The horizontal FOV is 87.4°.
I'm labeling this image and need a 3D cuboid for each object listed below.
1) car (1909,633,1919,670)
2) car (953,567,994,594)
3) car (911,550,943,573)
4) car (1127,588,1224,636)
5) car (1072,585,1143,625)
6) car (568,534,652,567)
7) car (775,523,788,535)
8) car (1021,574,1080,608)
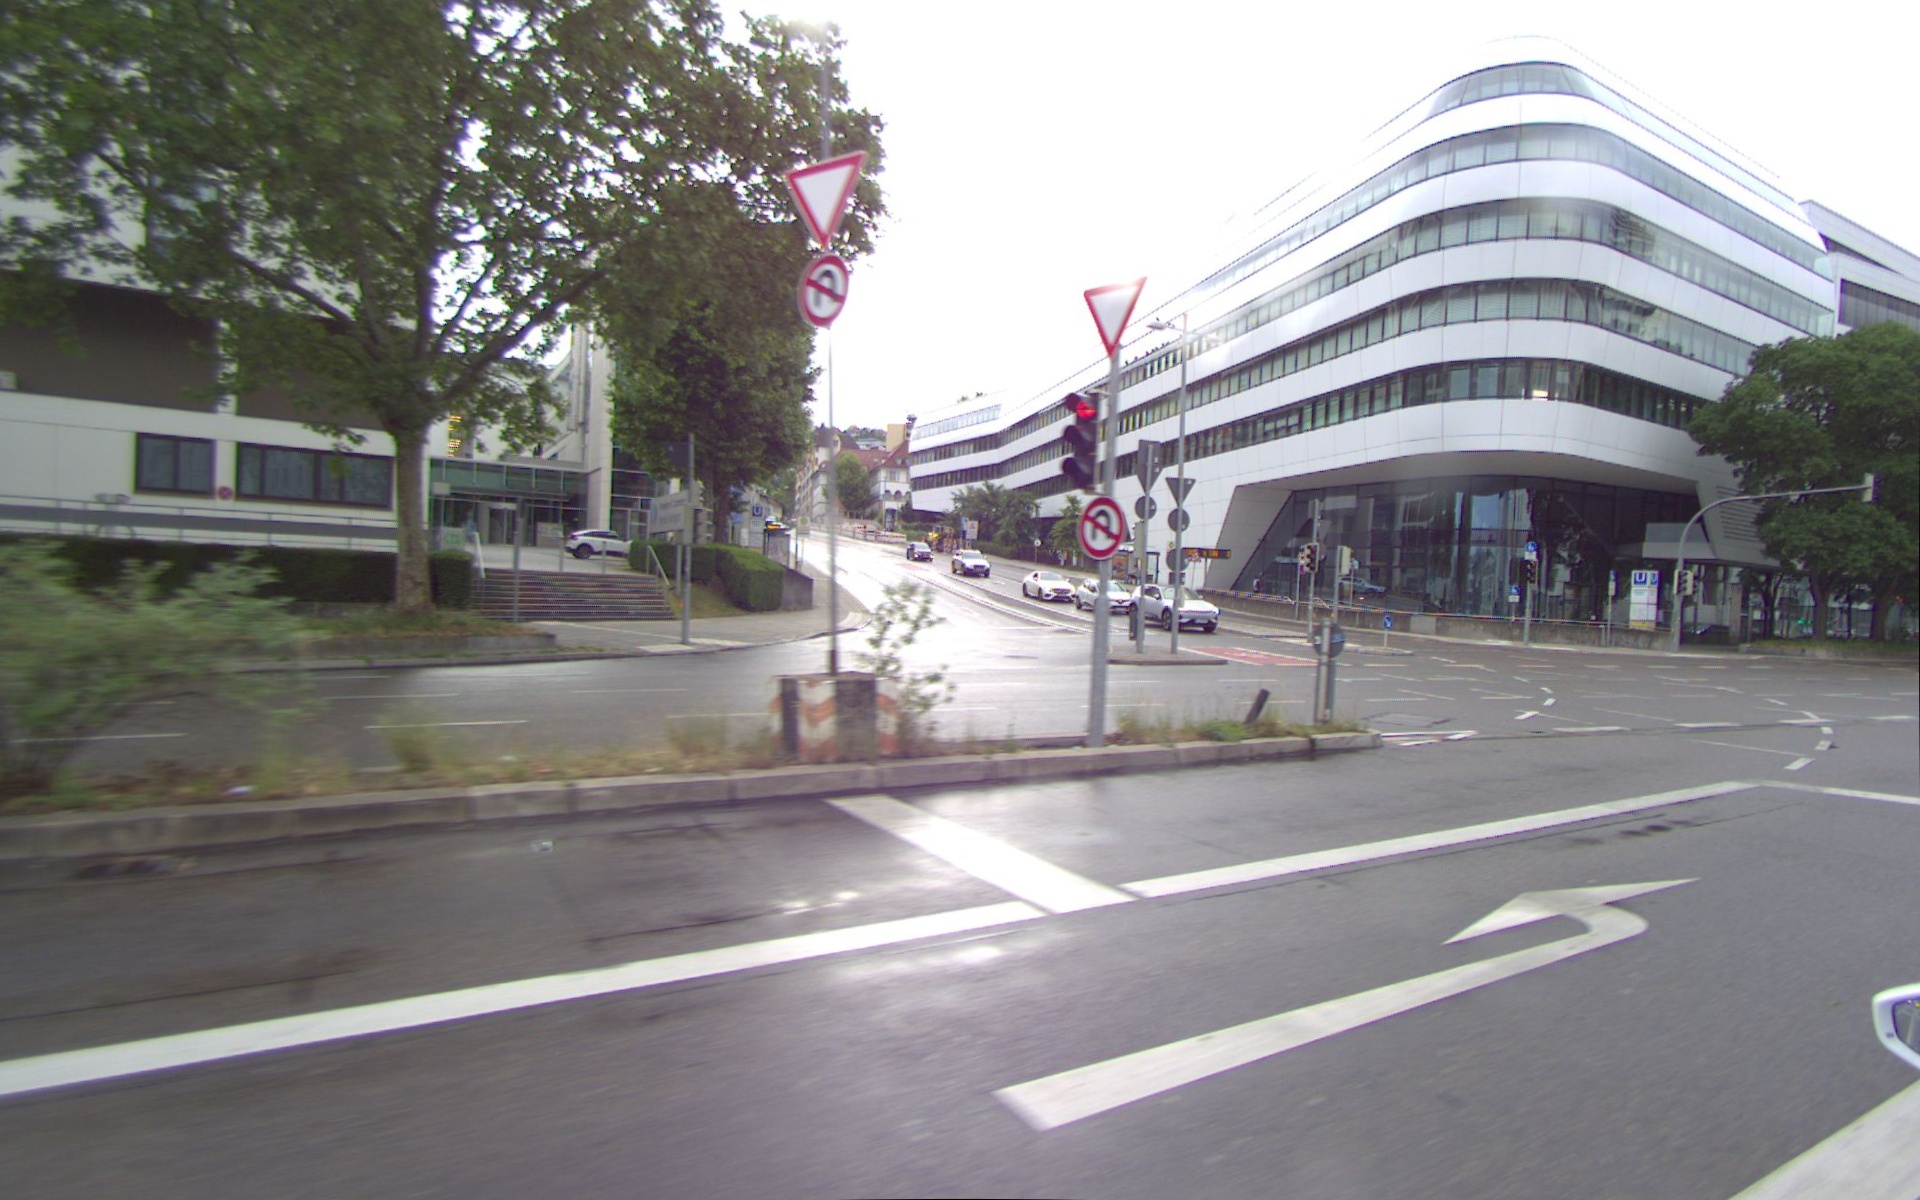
[{"bbox_3d":[37.784,2.026,37.926,4.176,1.346,1.735,3,-1,-30],"label":"car"},{"bbox_3d":[0.910,-1.388,69.028,1.863,1.653,3.988,3,2,-13],"label":"car"},{"bbox_3d":[-2.816,-3.276,84.952,1.862,1.653,3.988,3,5,-13],"label":"car"},{"bbox_3d":[8.180,0.435,38.565,1.862,1.653,4.504,3,-1,-13],"label":"car"},{"bbox_3d":[6.744,0.228,46.362,1.863,1.653,3.989,3,-1,-13],"label":"car"},{"bbox_3d":[-18.200,-2.540,52.276,3.837,1.428,1.518,3,-1,-30],"label":"car"},{"bbox_3d":[-30.209,-11.945,169.578,1.816,1.684,3.987,3,7,-14],"label":"car"},{"bbox_3d":[4.735,-0.497,52.908,1.863,1.653,3.989,3,1,-13],"label":"car"}]
